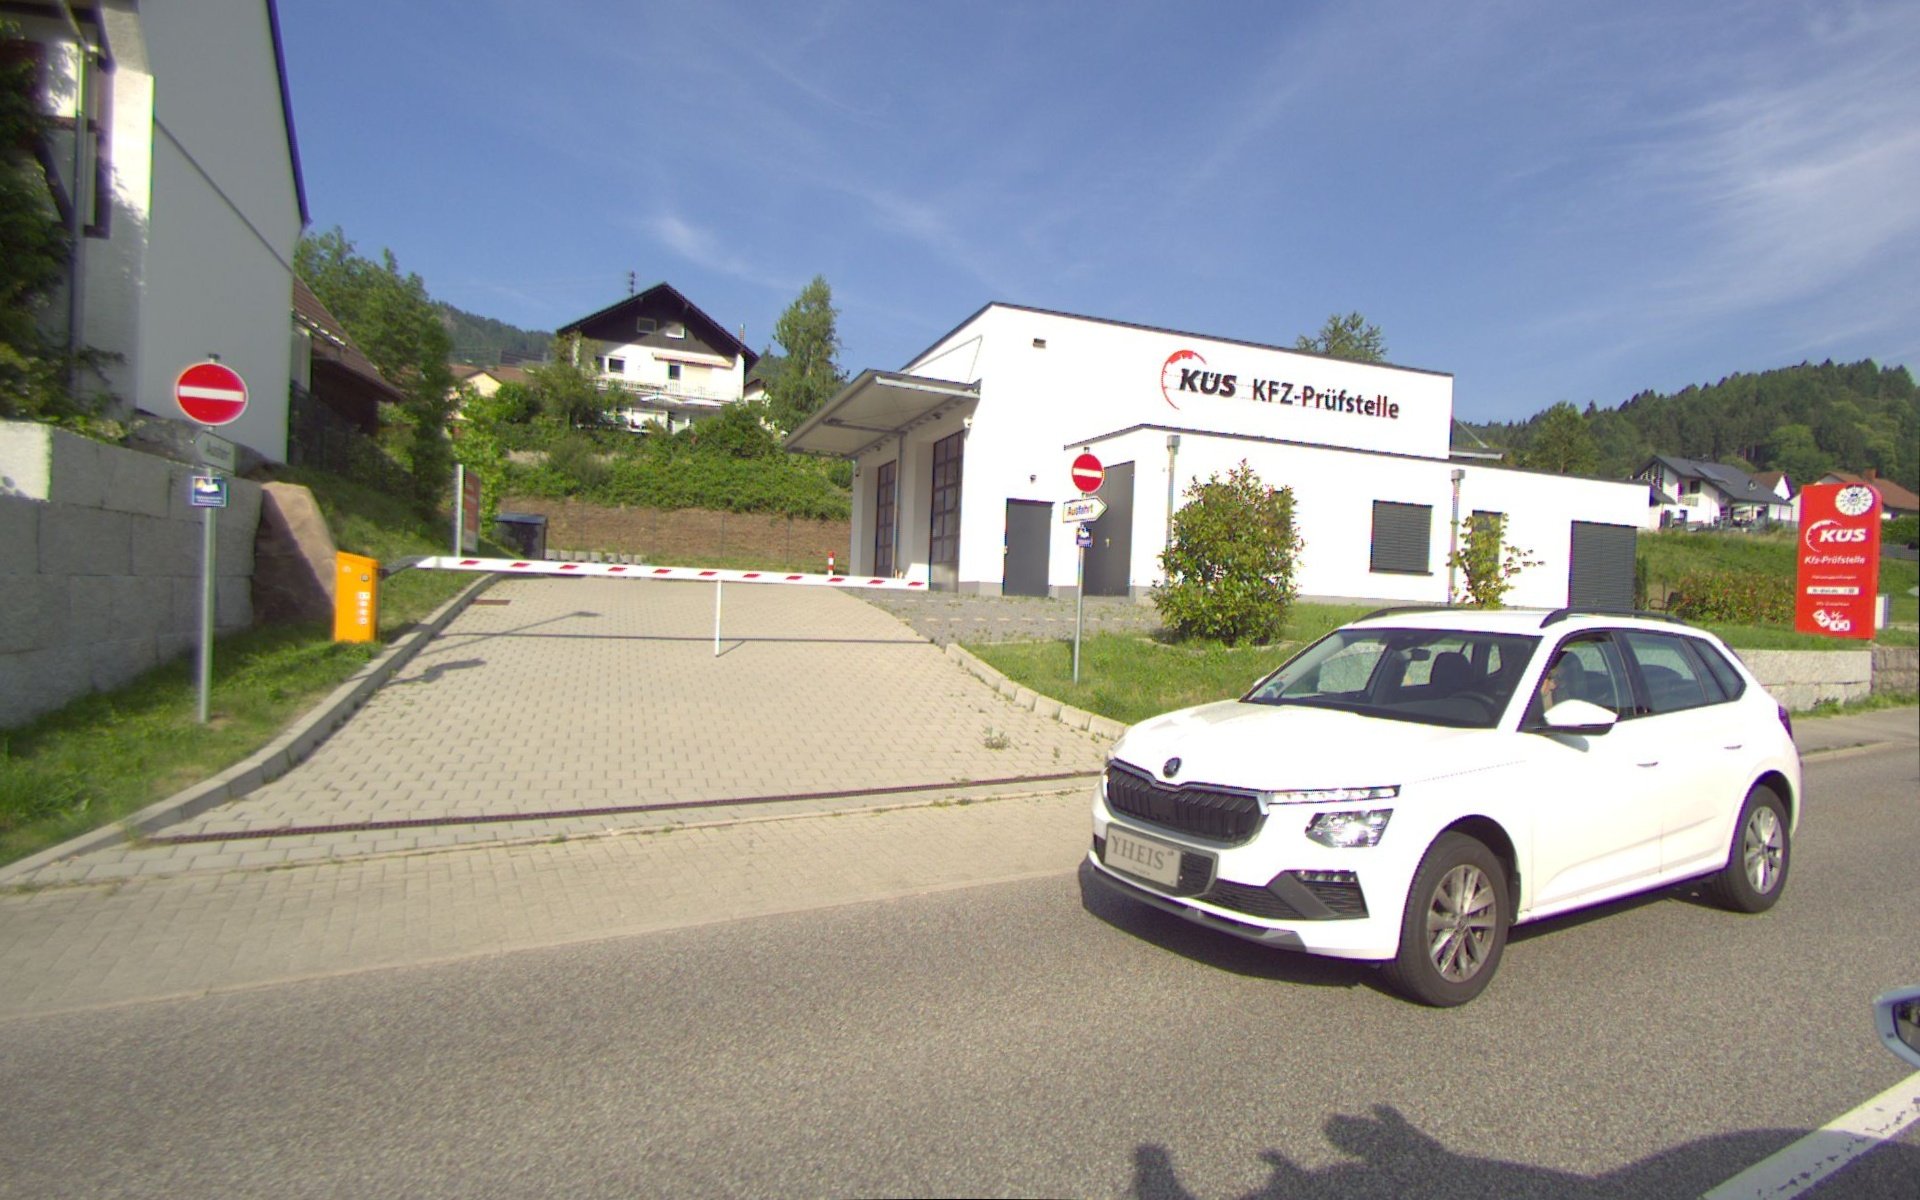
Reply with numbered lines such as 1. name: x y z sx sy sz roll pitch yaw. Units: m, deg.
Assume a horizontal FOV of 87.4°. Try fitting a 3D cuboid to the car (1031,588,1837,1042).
1. car: 2.565 0.763 5.183 4.141 1.524 1.740 1 -1 -30
